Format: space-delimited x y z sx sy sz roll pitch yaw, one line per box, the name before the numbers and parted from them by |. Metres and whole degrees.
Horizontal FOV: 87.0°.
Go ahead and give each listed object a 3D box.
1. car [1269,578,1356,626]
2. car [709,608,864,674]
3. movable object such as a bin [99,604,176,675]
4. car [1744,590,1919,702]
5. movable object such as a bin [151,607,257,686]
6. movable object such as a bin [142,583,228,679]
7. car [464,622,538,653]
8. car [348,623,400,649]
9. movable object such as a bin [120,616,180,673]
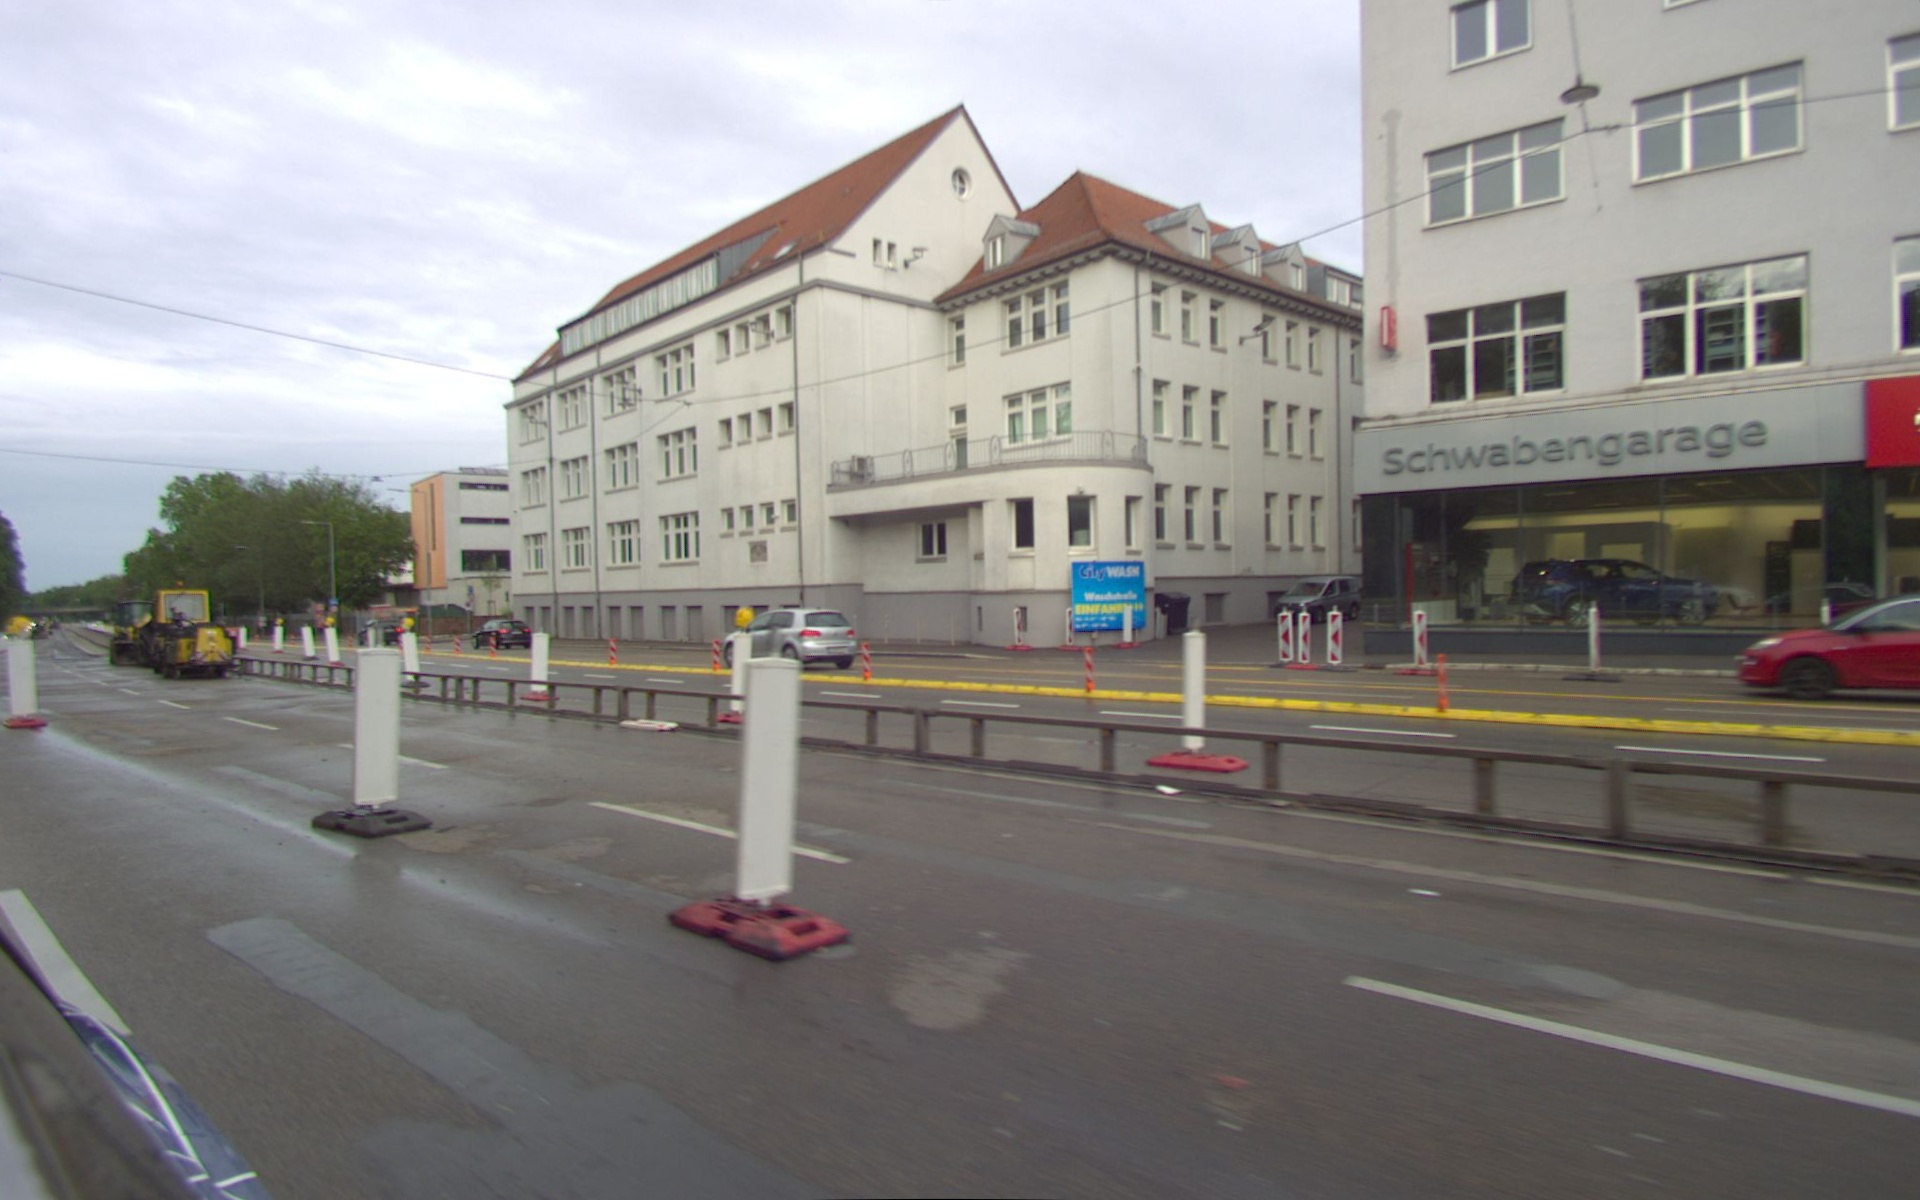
car | 14.264 0.078 40.857 3.905 1.844 1.791 0 0 -44
car | -4.306 0.985 24.748 4.119 1.475 1.681 -2 -2 45
movable object such as a bin | -34.938 1.637 42.945 2.097 2.860 4.481 0 -1 -45
car | 12.814 0.584 13.418 3.708 1.425 1.715 -1 -1 42
movable object such as a bin | -22.255 1.334 29.741 1.971 2.128 3.851 0 -1 -45
movable object such as a bin | -25.159 0.994 32.820 1.801 2.934 3.609 0 -2 -45
car | -22.313 1.812 49.124 3.999 1.392 1.838 -2 -2 42
car | -37.791 2.308 65.183 1.970 1.597 4.214 0 -1 -44
movable object such as a bin | -31.247 1.706 39.008 1.380 2.060 4.088 0 -2 -45
